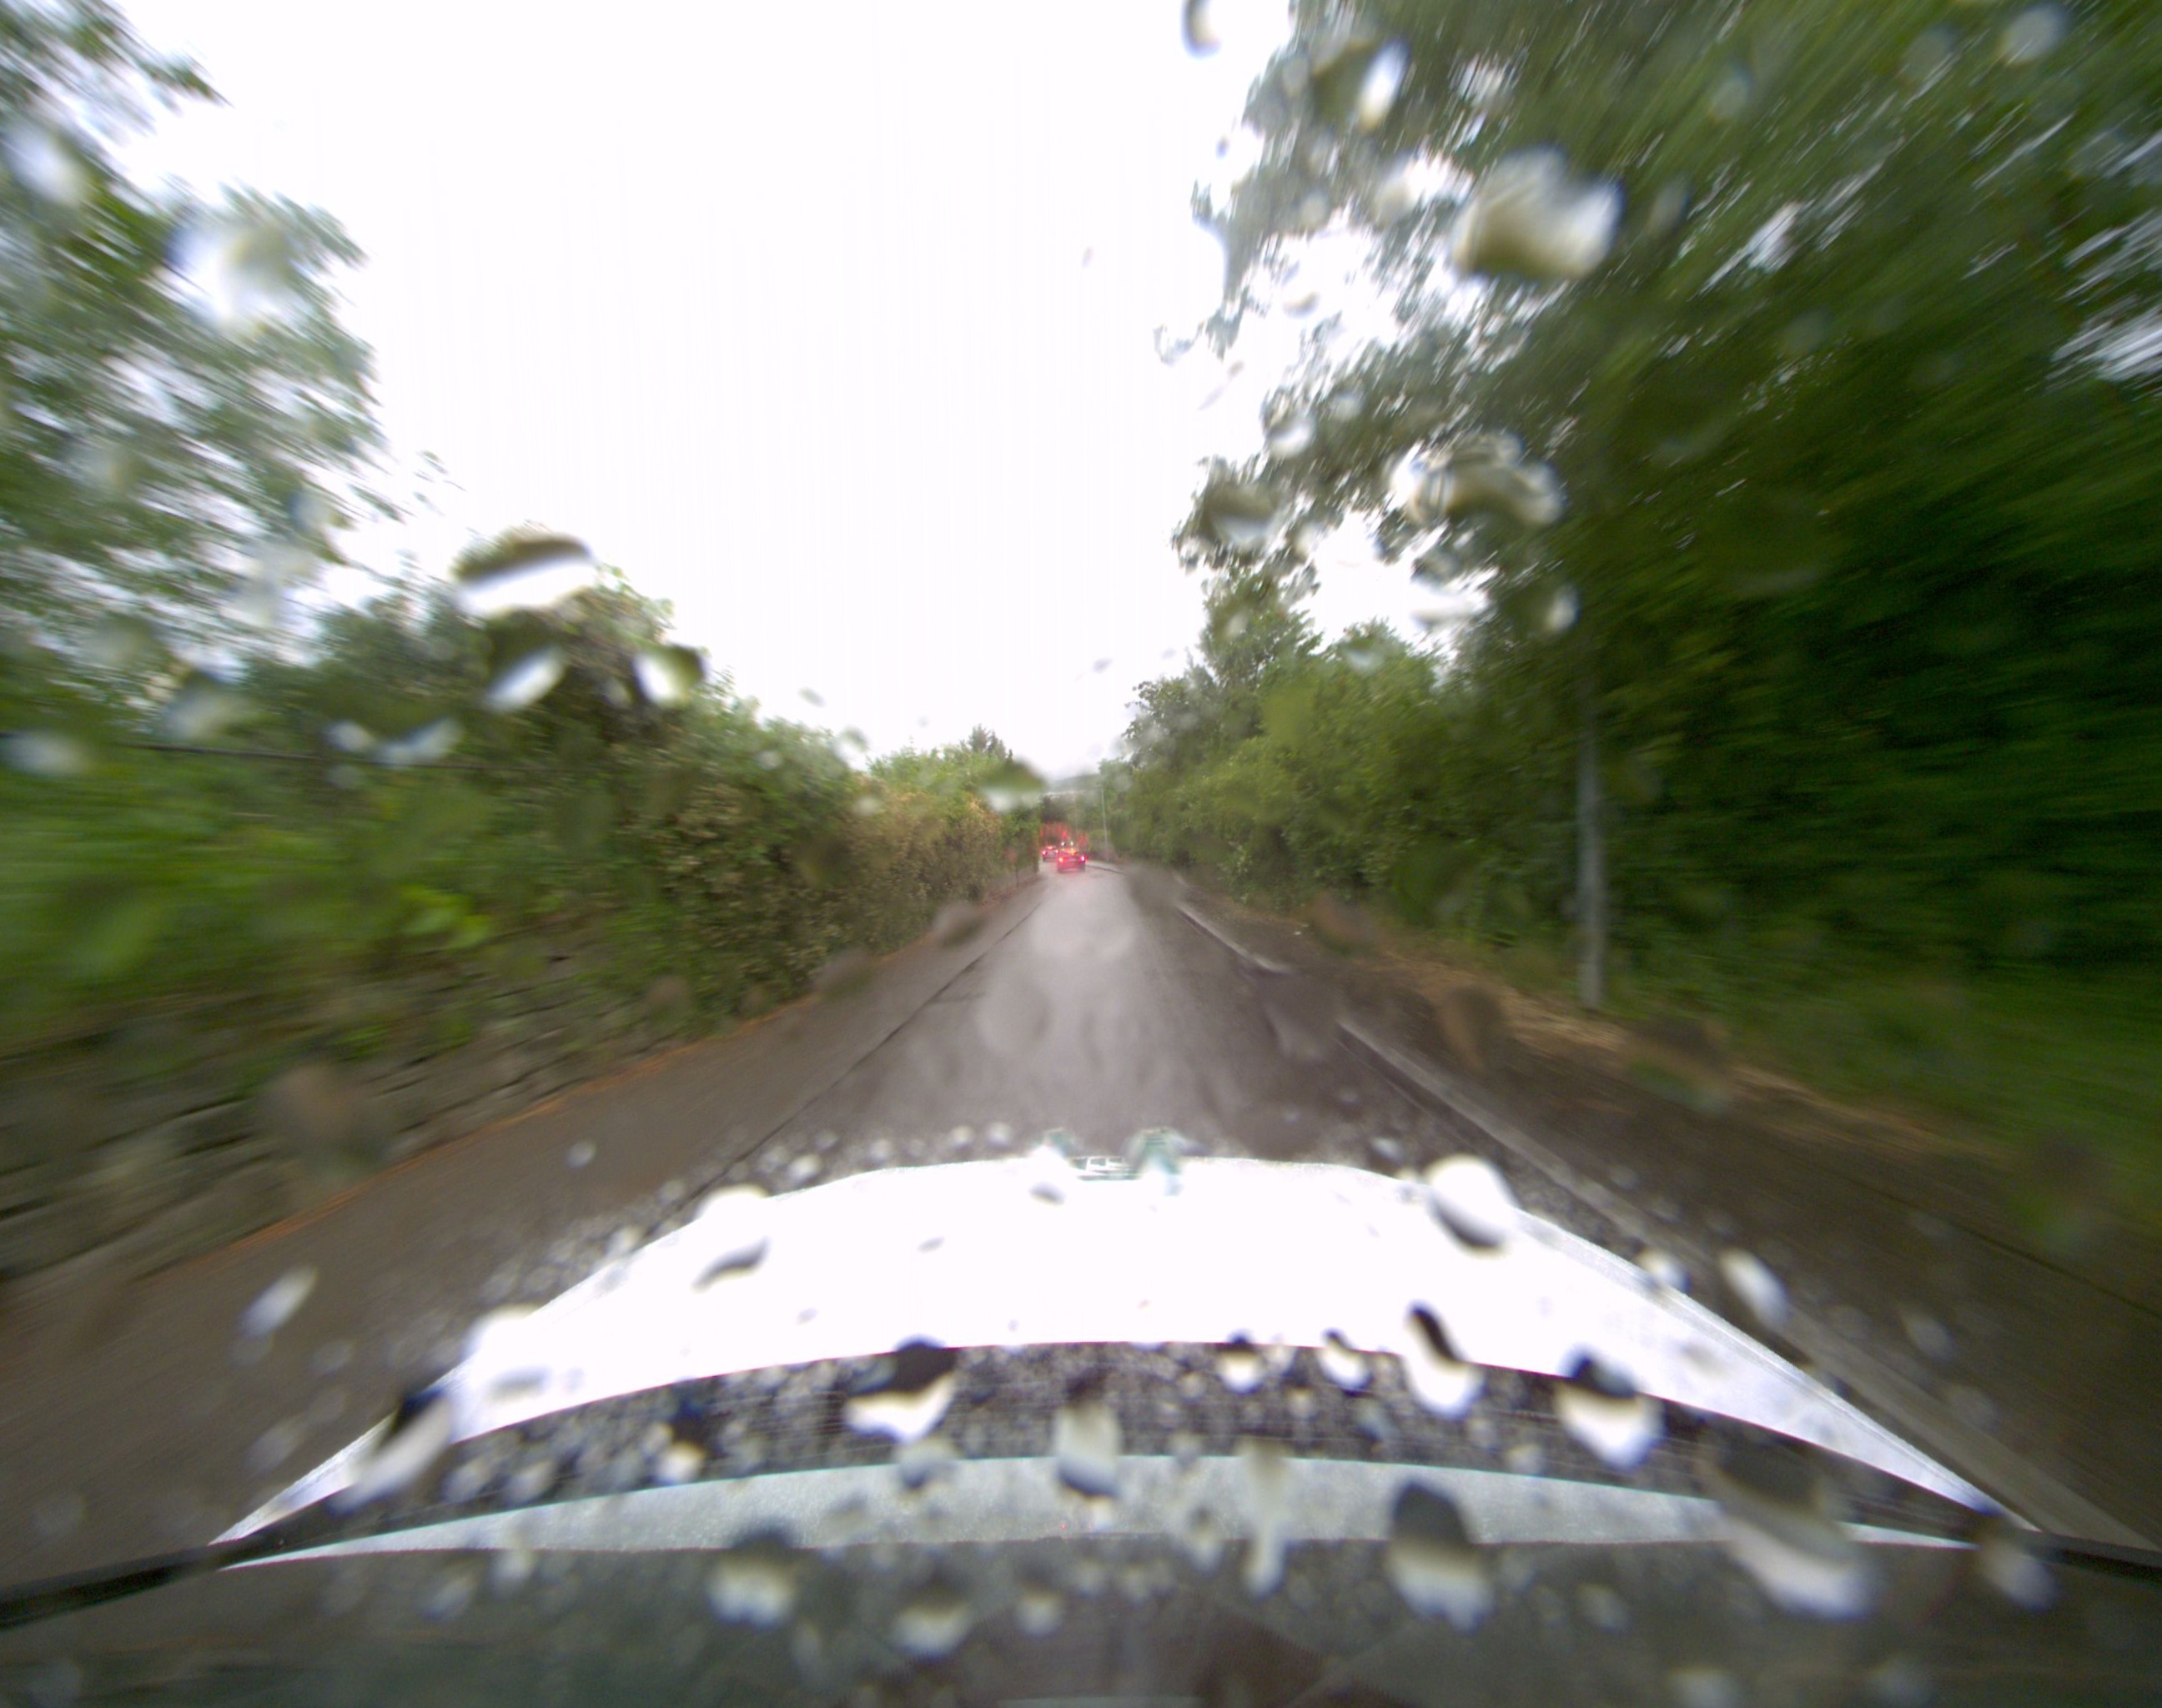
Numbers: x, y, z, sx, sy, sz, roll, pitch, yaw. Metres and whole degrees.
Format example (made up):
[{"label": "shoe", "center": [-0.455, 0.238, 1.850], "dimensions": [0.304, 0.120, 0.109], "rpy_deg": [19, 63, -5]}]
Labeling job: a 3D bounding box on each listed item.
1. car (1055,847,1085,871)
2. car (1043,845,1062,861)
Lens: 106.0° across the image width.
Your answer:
[{"label": "car", "center": [-0.770, 0.316, 54.446], "dimensions": [1.830, 1.464, 3.997], "rpy_deg": [-1, 0, -2]}, {"label": "car", "center": [-3.138, -0.117, 89.752], "dimensions": [1.671, 1.565, 3.798], "rpy_deg": [-2, 2, 3]}]
